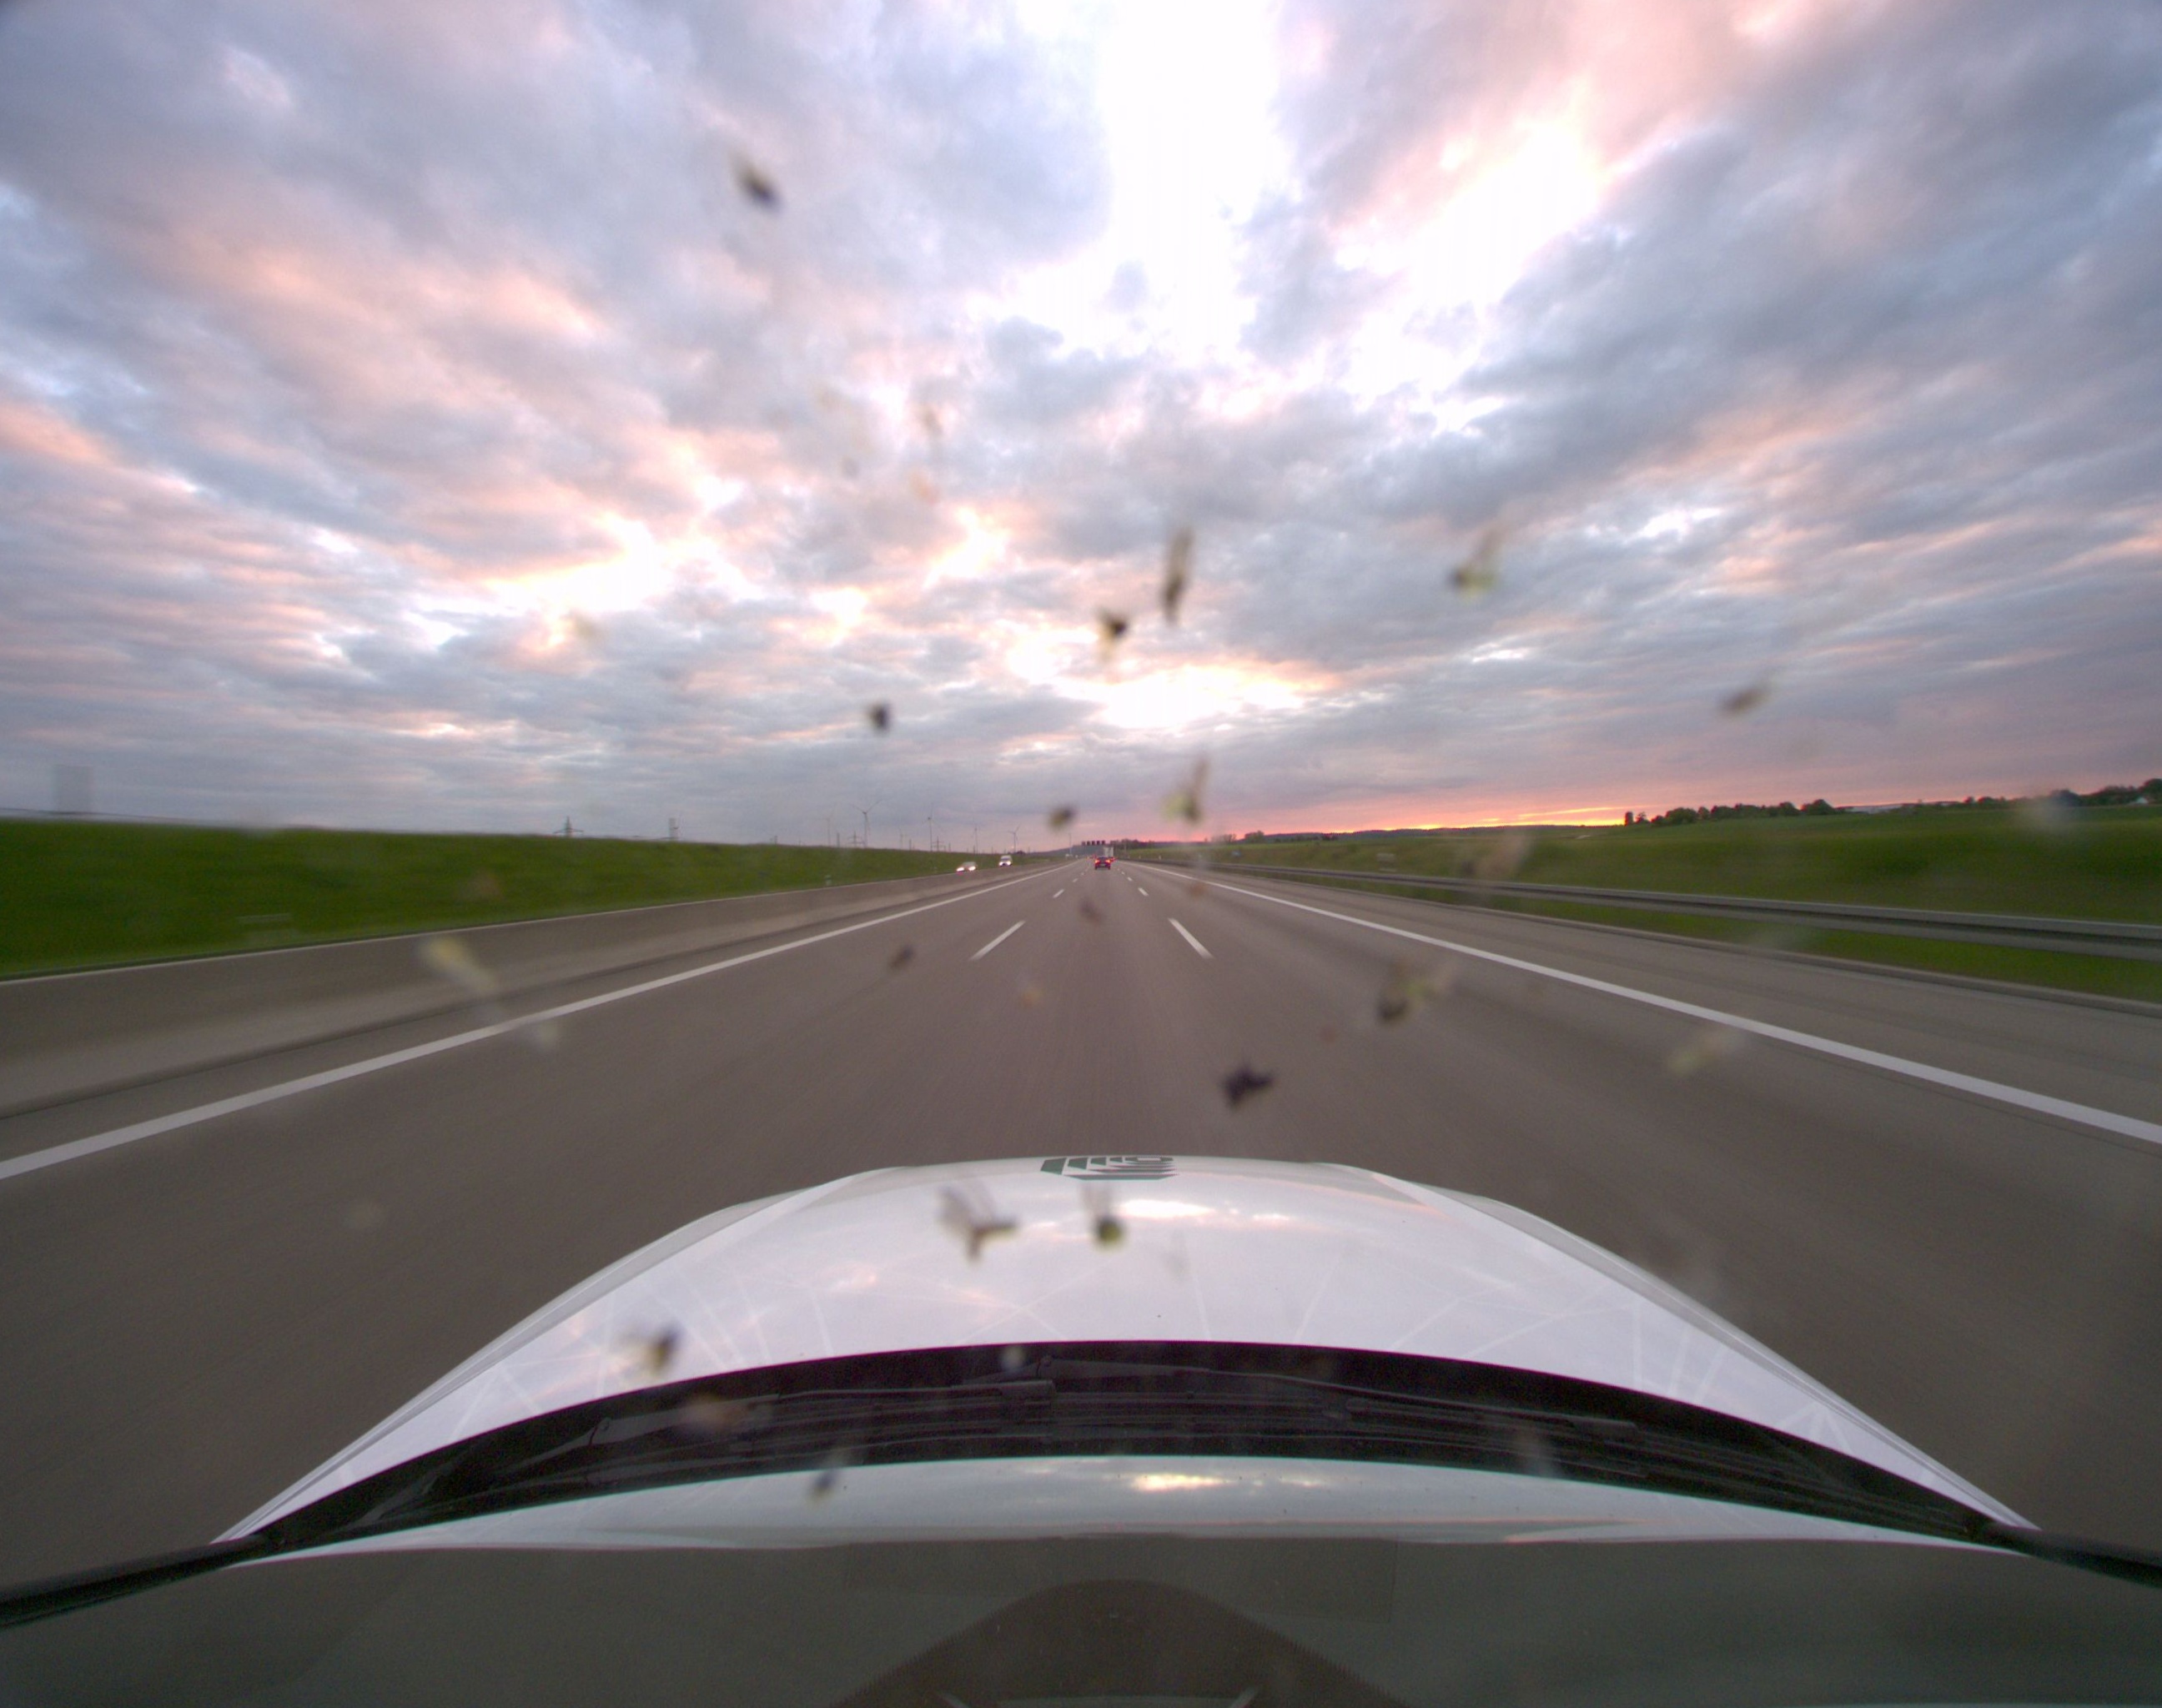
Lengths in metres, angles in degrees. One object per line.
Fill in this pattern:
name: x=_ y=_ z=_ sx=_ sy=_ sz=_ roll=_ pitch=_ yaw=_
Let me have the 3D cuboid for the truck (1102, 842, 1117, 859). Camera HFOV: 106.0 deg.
truck: x=7.949 y=-0.918 z=229.355 sx=3.663 sy=4.564 sz=10.982 roll=-3 pitch=0 yaw=1

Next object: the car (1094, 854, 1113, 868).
car: x=2.552 y=0.774 z=90.844 sx=1.979 sy=1.429 sz=4.003 roll=-3 pitch=0 yaw=3

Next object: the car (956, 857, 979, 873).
car: x=-13.211 y=1.263 z=94.778 sx=1.846 sy=1.592 sz=4.107 roll=-3 pitch=0 yaw=2

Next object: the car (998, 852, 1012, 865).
car: x=-16.280 y=0.973 z=174.658 sx=1.986 sy=2.546 sz=7.380 roll=-3 pitch=0 yaw=2
